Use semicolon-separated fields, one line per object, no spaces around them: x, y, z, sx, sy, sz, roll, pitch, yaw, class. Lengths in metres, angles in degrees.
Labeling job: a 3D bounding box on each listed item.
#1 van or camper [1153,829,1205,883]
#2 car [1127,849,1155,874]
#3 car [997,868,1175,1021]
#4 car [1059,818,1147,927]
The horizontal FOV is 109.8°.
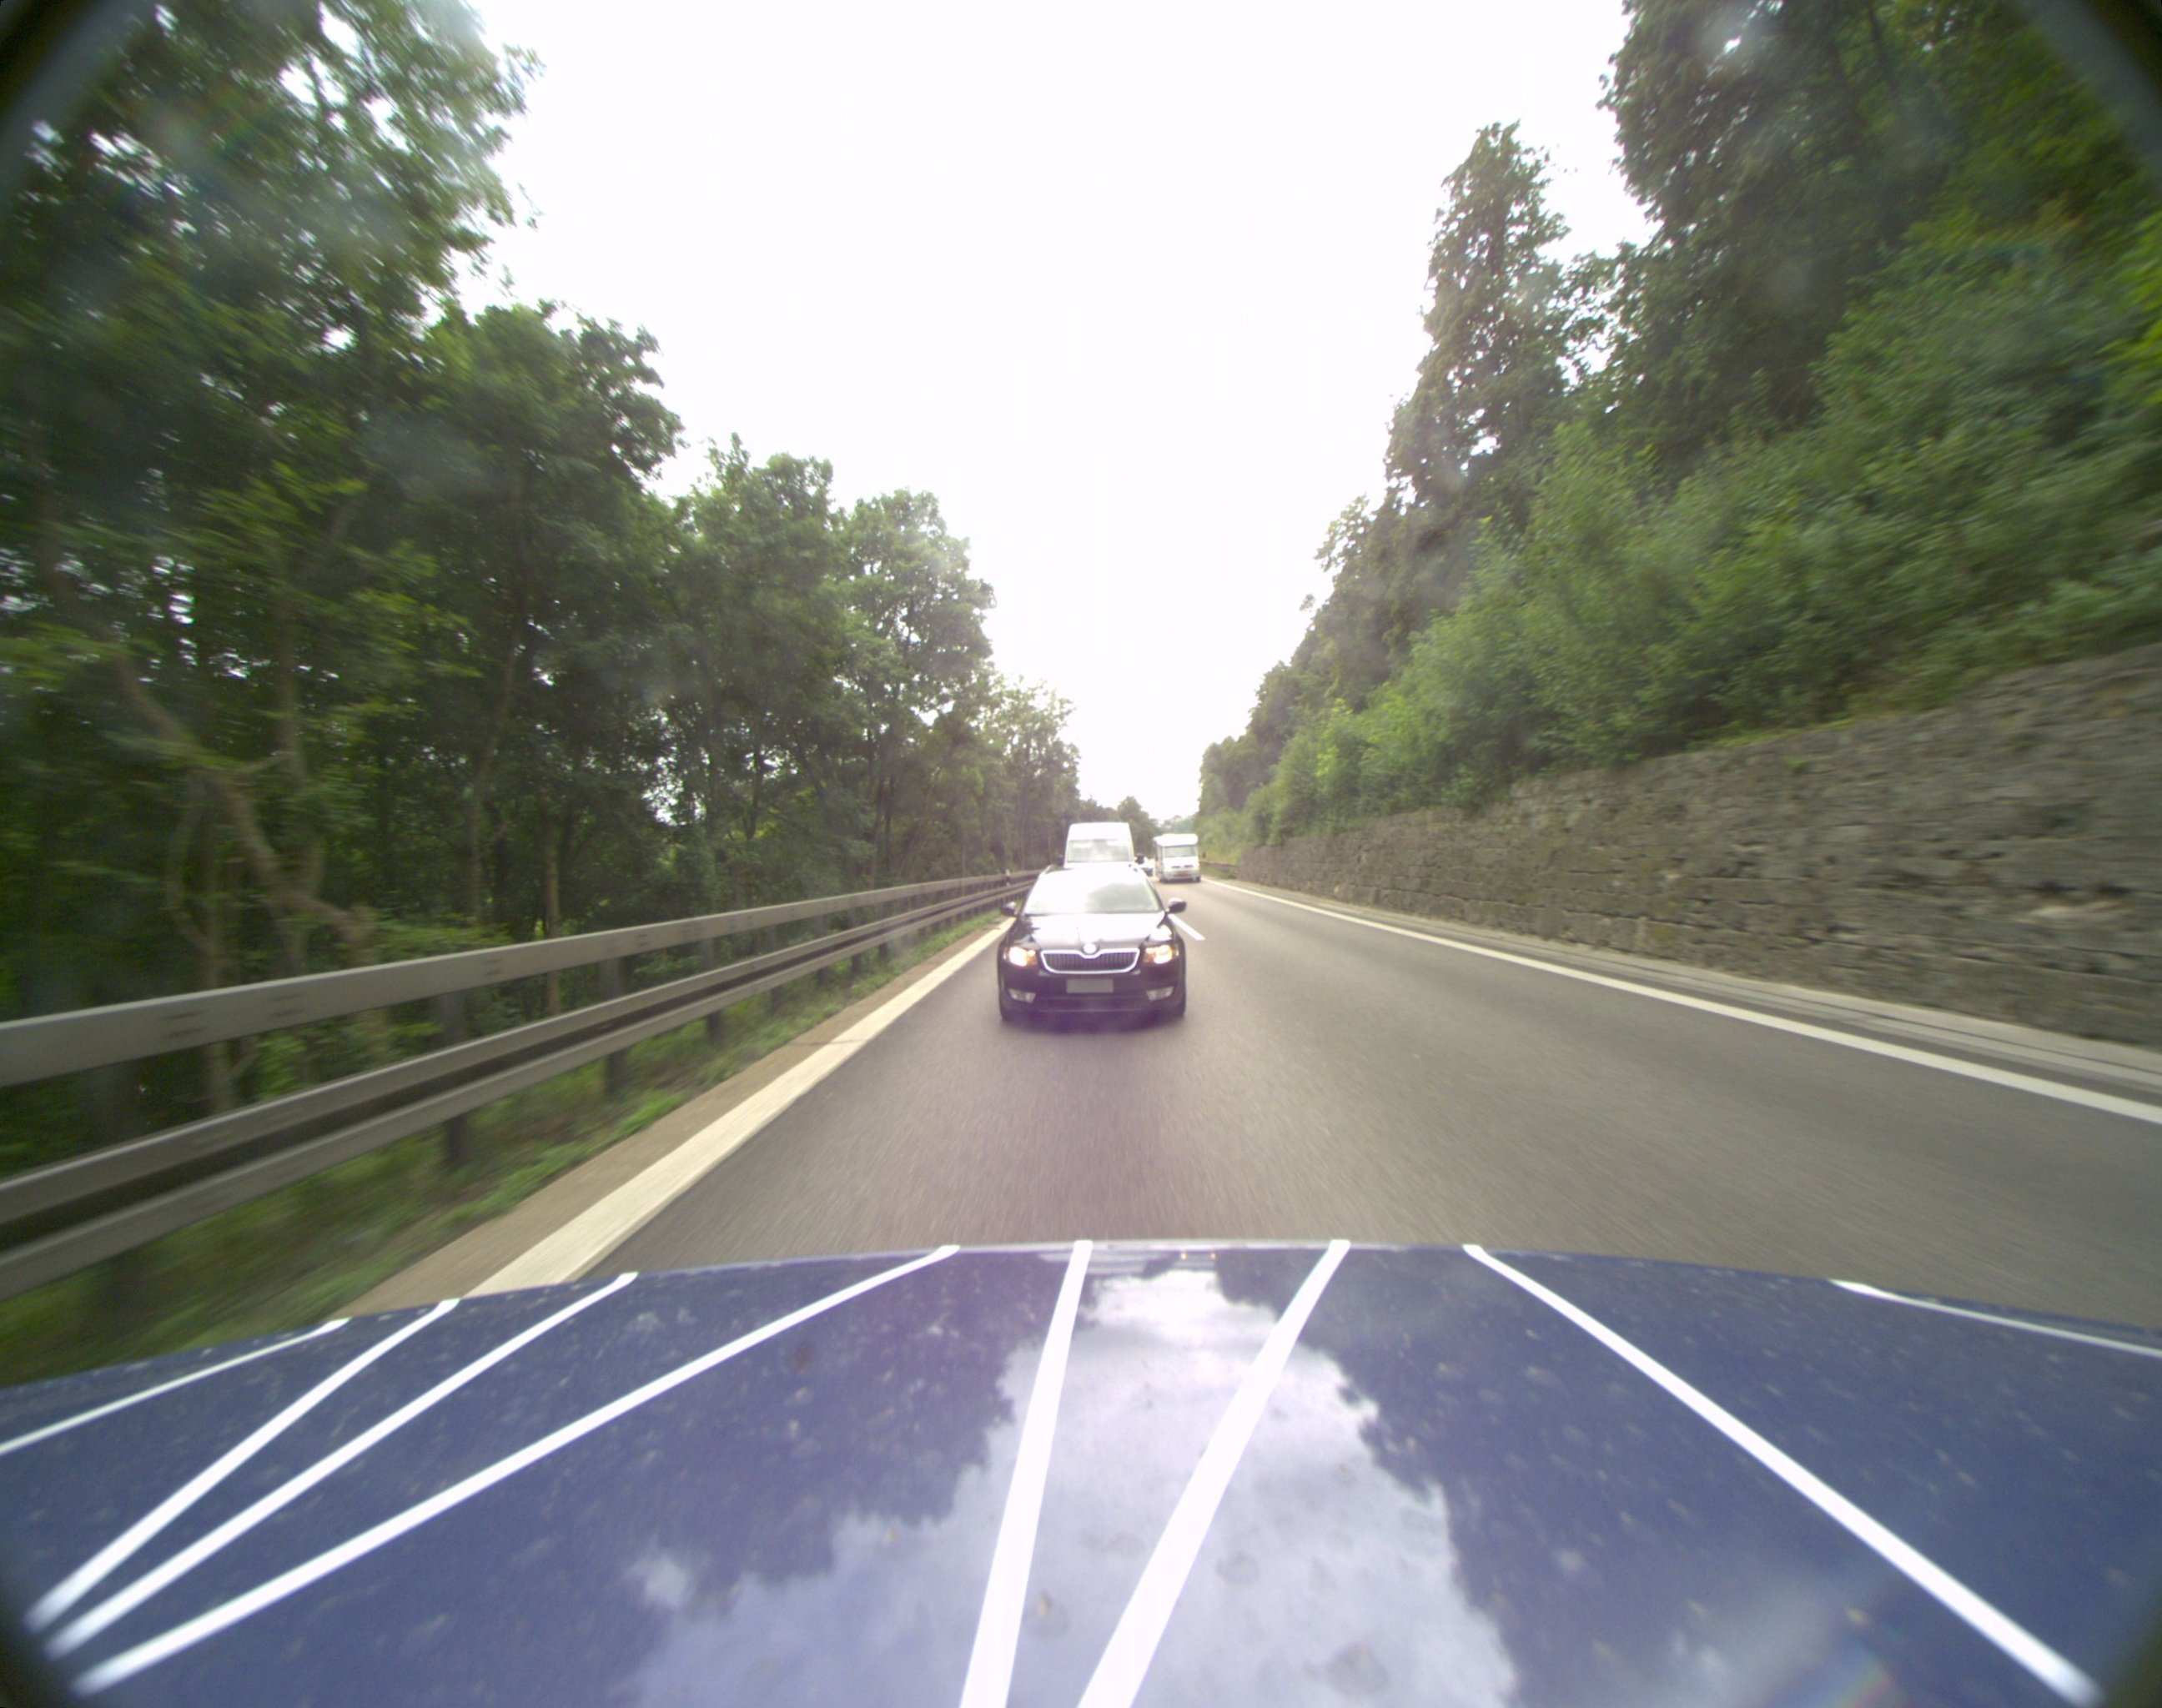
5.450;0.091;43.239;2.270;2.719;7.025;-2;0;3;van or camper
4.512;0.573;57.747;1.808;1.772;4.000;-2;0;1;car
0.044;0.955;9.867;1.751;1.409;4.401;-2;0;0;car
0.594;0.427;20.751;2.001;2.545;5.128;-2;0;2;car
